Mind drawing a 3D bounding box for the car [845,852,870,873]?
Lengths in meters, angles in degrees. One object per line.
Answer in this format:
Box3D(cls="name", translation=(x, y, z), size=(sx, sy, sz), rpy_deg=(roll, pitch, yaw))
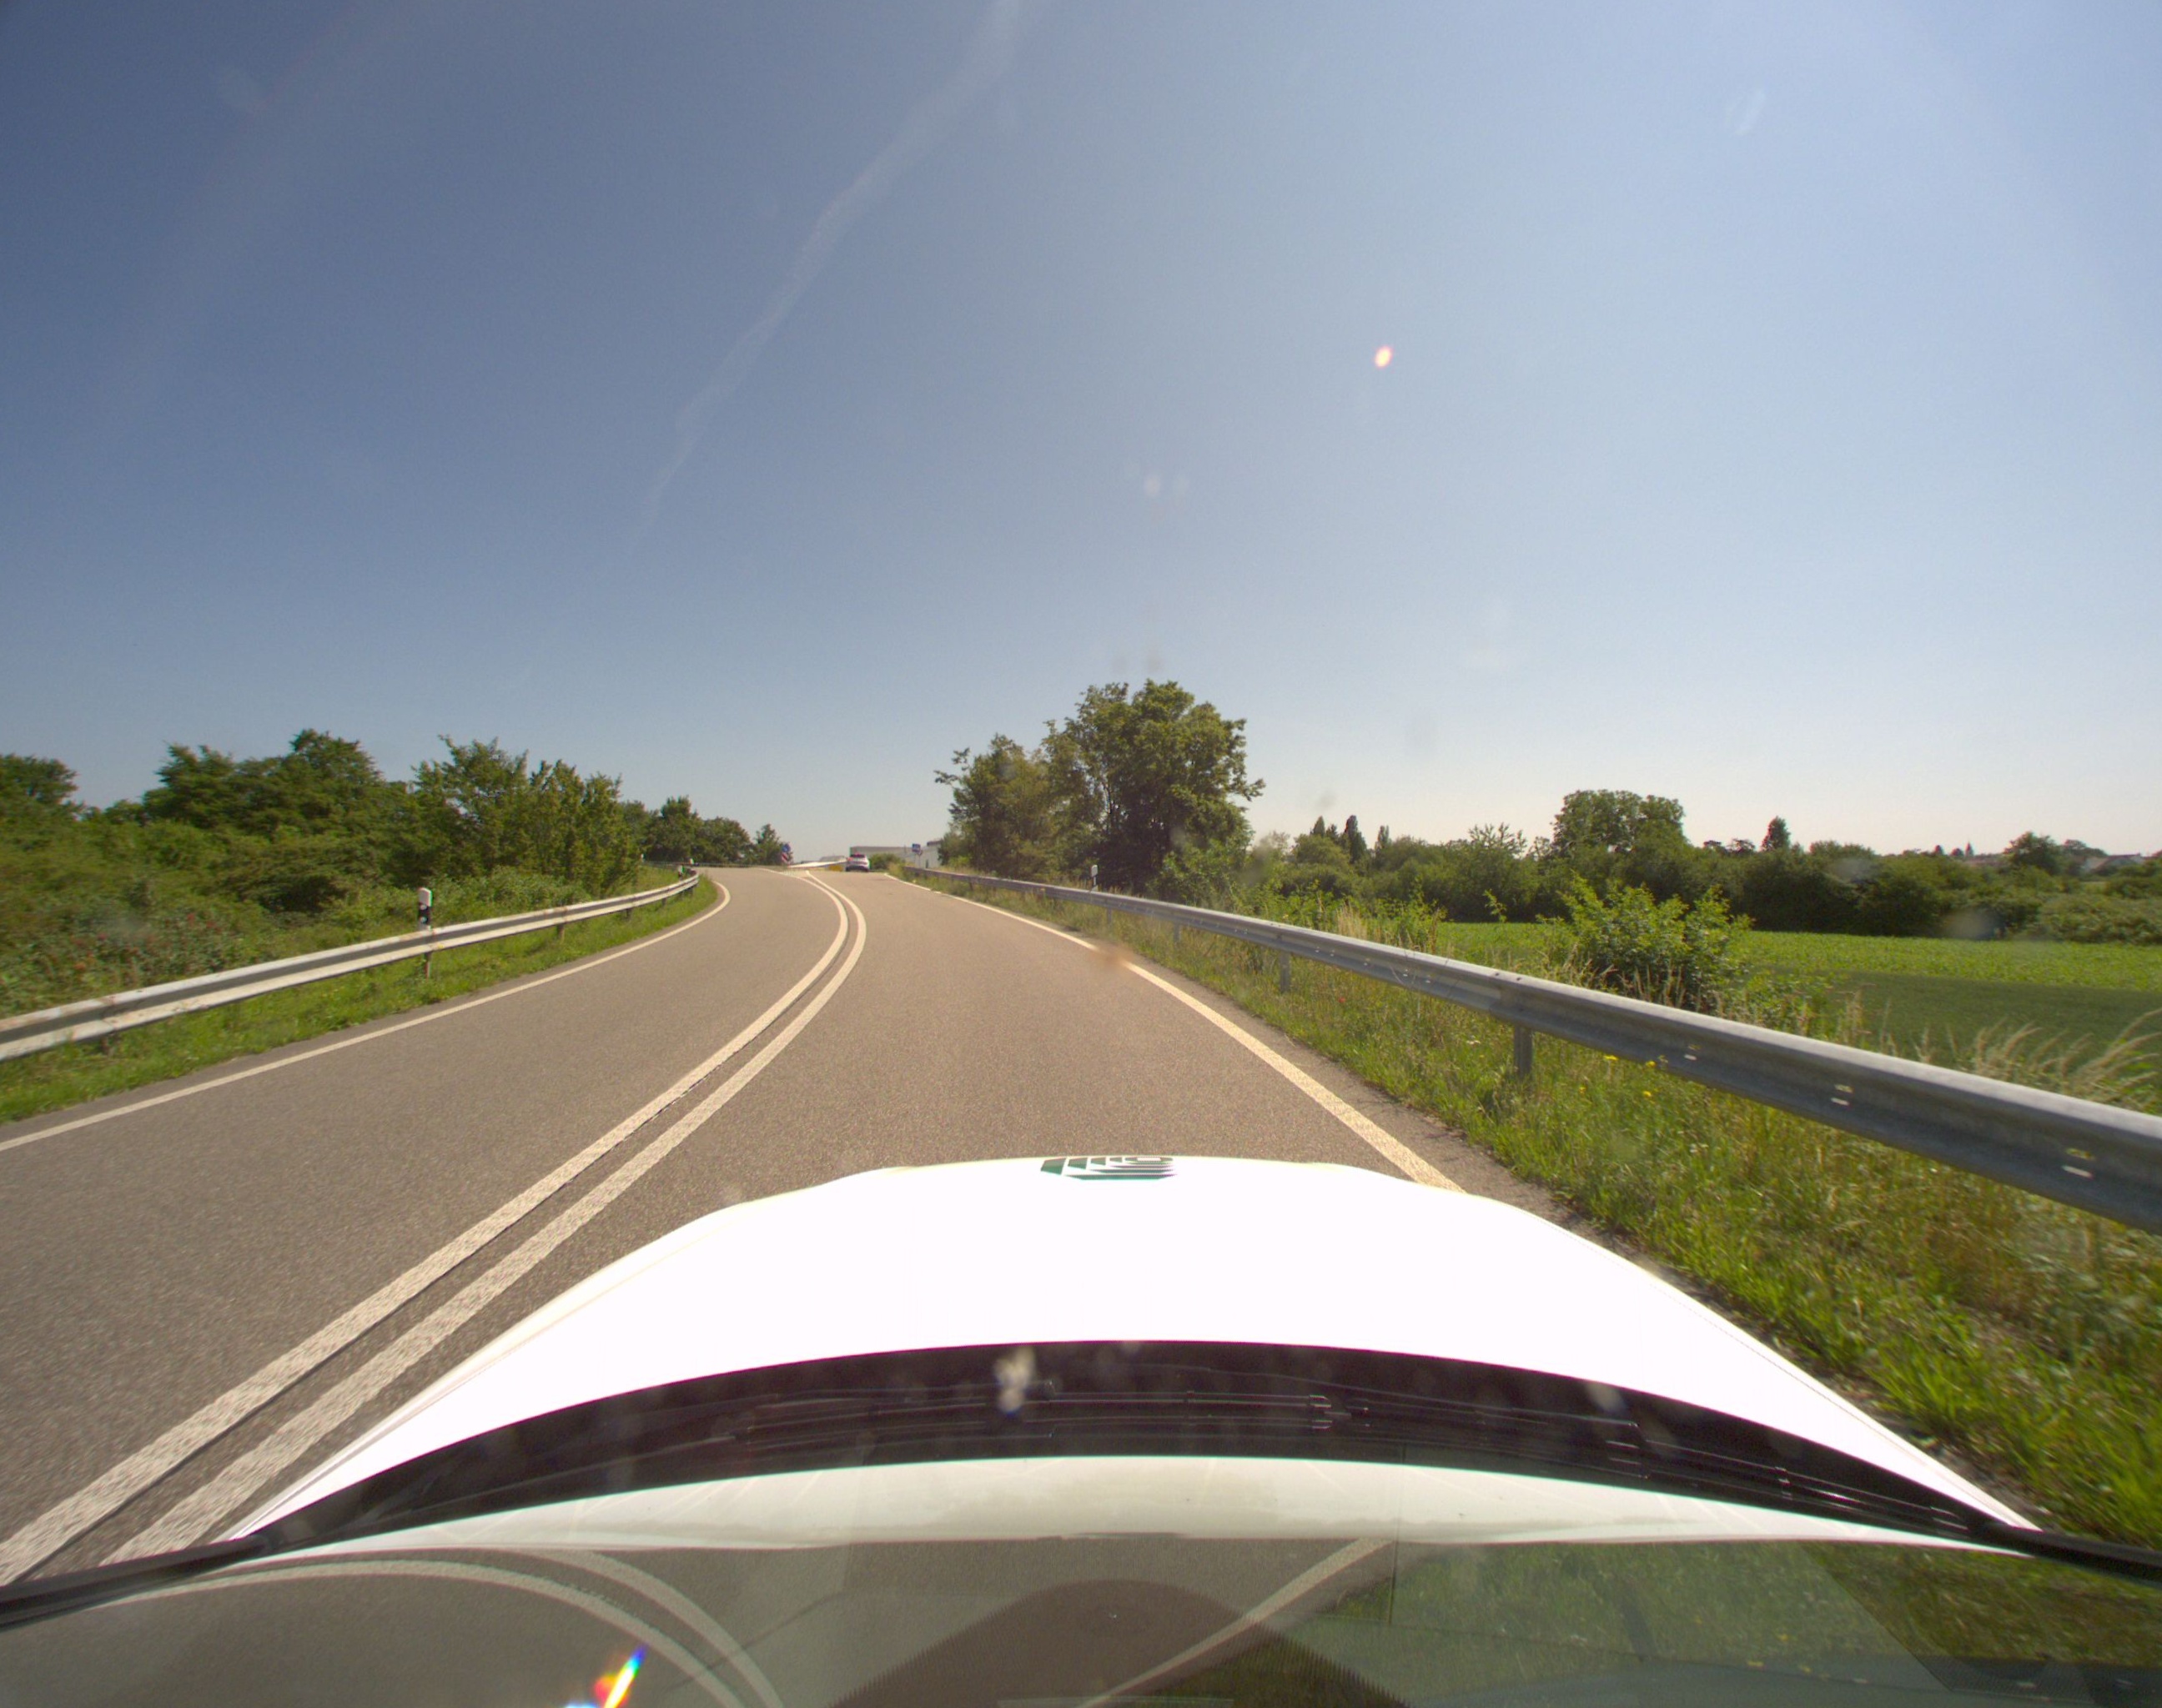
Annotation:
Box3D(cls="car", translation=(-18.512, 0.727, 67.644), size=(1.810, 1.691, 3.982), rpy_deg=(0, -2, -12))
